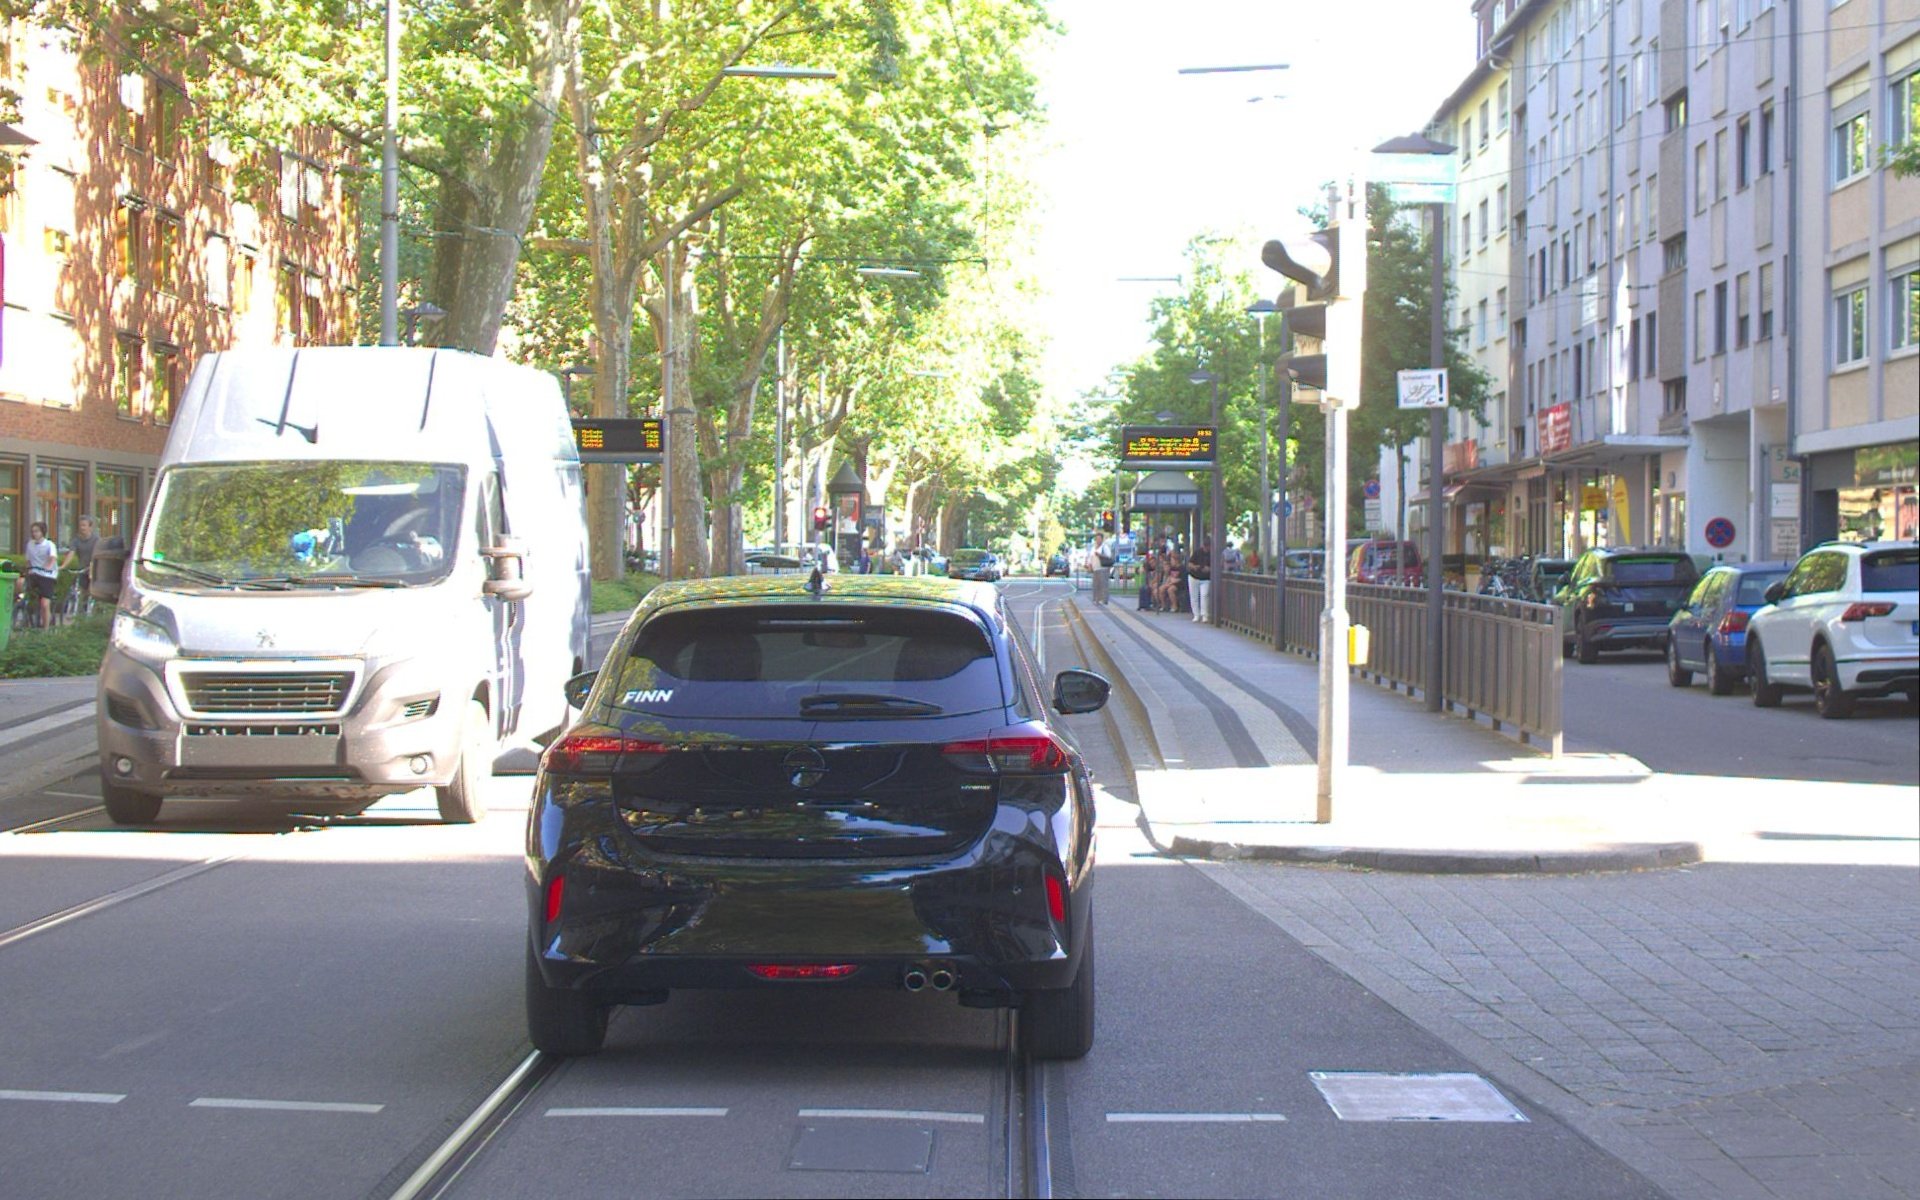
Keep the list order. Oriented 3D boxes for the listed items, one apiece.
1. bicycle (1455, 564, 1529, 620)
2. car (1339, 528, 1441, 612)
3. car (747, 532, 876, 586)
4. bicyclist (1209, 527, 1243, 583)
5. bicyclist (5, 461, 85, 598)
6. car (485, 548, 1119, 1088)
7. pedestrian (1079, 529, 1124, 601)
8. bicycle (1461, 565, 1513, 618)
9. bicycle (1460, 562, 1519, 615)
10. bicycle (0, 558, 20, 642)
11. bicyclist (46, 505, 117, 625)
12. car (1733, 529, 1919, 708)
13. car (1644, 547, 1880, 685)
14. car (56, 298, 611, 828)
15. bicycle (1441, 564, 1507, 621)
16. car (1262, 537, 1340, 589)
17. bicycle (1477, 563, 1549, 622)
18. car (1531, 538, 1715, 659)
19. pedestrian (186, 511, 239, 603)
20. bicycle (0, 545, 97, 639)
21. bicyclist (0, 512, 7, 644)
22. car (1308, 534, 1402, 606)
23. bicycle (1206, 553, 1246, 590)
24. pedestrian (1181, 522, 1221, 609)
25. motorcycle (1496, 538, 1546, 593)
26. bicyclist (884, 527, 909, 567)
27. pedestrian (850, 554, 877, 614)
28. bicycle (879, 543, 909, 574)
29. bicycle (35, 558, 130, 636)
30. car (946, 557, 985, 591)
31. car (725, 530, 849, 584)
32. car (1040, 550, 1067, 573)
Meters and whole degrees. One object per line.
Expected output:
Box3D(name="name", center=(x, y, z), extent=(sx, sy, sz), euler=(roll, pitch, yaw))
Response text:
Box3D(name="bicycle", center=(11.170, -0.181, 72.251), extent=(0.611, 1.132, 2.922), euler=(1, 0, -10))
Box3D(name="car", center=(10.440, -0.734, 83.706), extent=(1.993, 1.946, 4.000), euler=(1, 0, 1))
Box3D(name="car", center=(-4.919, -1.347, 113.466), extent=(4.113, 1.695, 1.884), euler=(1, 0, -5))
Box3D(name="bicyclist", center=(8.434, -1.423, 109.086), extent=(0.861, 1.753, 1.054), euler=(1, 0, -5))
Box3D(name="bicyclist", center=(-11.985, -0.912, 45.044), extent=(0.782, 1.757, 0.951), euler=(1, 0, -1))
Box3D(name="car", center=(-0.463, 0.593, 11.410), extent=(1.759, 1.503, 3.683), euler=(0, 0, -1))
Box3D(name="pedestrian", center=(3.389, -0.839, 82.320), extent=(0.751, 1.703, 0.762), euler=(2, 0, 36))
Box3D(name="bicycle", center=(11.389, -0.196, 74.379), extent=(0.410, 1.132, 2.204), euler=(1, 0, -10))
Box3D(name="bicycle", center=(11.659, -0.264, 75.775), extent=(0.597, 1.132, 2.204), euler=(1, 0, -10))
Box3D(name="bicycle", center=(-13.073, -0.009, 45.138), extent=(0.782, 1.107, 2.596), euler=(1, 0, -1))
Box3D(name="bicyclist", center=(-12.978, -0.518, 50.813), extent=(0.774, 1.744, 0.997), euler=(1, 0, -1))
Box3D(name="car", center=(8.855, 0.163, 33.308), extent=(1.799, 1.600, 4.415), euler=(1, 0, 2))
Box3D(name="car", center=(9.012, 0.155, 38.932), extent=(1.744, 1.435, 4.247), euler=(1, 0, 2))
Box3D(name="car", center=(-3.557, -0.210, 20.862), extent=(2.113, 2.729, 6.115), euler=(0, 0, 1))
Box3D(name="bicycle", center=(10.563, -0.162, 70.720), extent=(0.602, 1.132, 2.435), euler=(1, 0, -10))
Box3D(name="car", center=(10.159, -1.086, 102.639), extent=(1.993, 1.481, 4.000), euler=(1, 0, 2))
Box3D(name="bicycle", center=(10.972, -0.155, 68.295), extent=(0.621, 1.132, 2.440), euler=(1, 0, -10))
Box3D(name="car", center=(9.453, -0.034, 49.328), extent=(1.857, 1.610, 4.397), euler=(1, 0, 2))
Box3D(name="pedestrian", center=(-13.792, -0.785, 63.413), extent=(0.735, 1.666, 0.861), euler=(1, 0, 2))
Box3D(name="bicycle", center=(-12.022, -0.115, 45.083), extent=(0.782, 1.187, 2.596), euler=(1, 0, -1))
Box3D(name="bicyclist", center=(-13.048, -0.291, 45.138), extent=(0.774, 1.744, 0.997), euler=(1, 0, -1))
Box3D(name="car", center=(10.344, -0.784, 90.295), extent=(1.993, 1.791, 4.000), euler=(1, 0, 1))
Box3D(name="bicycle", center=(8.432, -0.900, 108.996), extent=(0.861, 1.132, 2.396), euler=(1, 0, -5))
Box3D(name="pedestrian", center=(4.442, -0.640, 63.404), extent=(0.631, 1.571, 0.870), euler=(3, 1, 2))
Box3D(name="motorcycle", center=(13.548, -0.829, 83.099), extent=(0.892, 1.276, 2.043), euler=(1, 0, 2))
Box3D(name="bicyclist", center=(-2.722, -2.262, 146.937), extent=(0.941, 1.697, 1.153), euler=(1, 0, 5))
Box3D(name="pedestrian", center=(-3.314, -0.555, 117.712), extent=(0.676, 2.007, 0.701), euler=(3, 1, 13))
Box3D(name="bicycle", center=(-2.811, -1.757, 146.030), extent=(0.955, 1.236, 2.977), euler=(1, 0, 4))
Box3D(name="bicycle", center=(-12.981, -0.050, 50.928), extent=(0.782, 1.107, 2.596), euler=(1, 0, -1))
Box3D(name="car", center=(0.246, -1.209, 159.562), extent=(1.745, 1.539, 4.000), euler=(1, 0, 0))
Box3D(name="car", center=(-6.314, -1.573, 125.456), extent=(4.384, 1.845, 2.000), euler=(1, 0, -5))
Box3D(name="car", center=(6.544, -2.696, 240.737), extent=(1.745, 1.539, 4.000), euler=(1, 0, 0))
